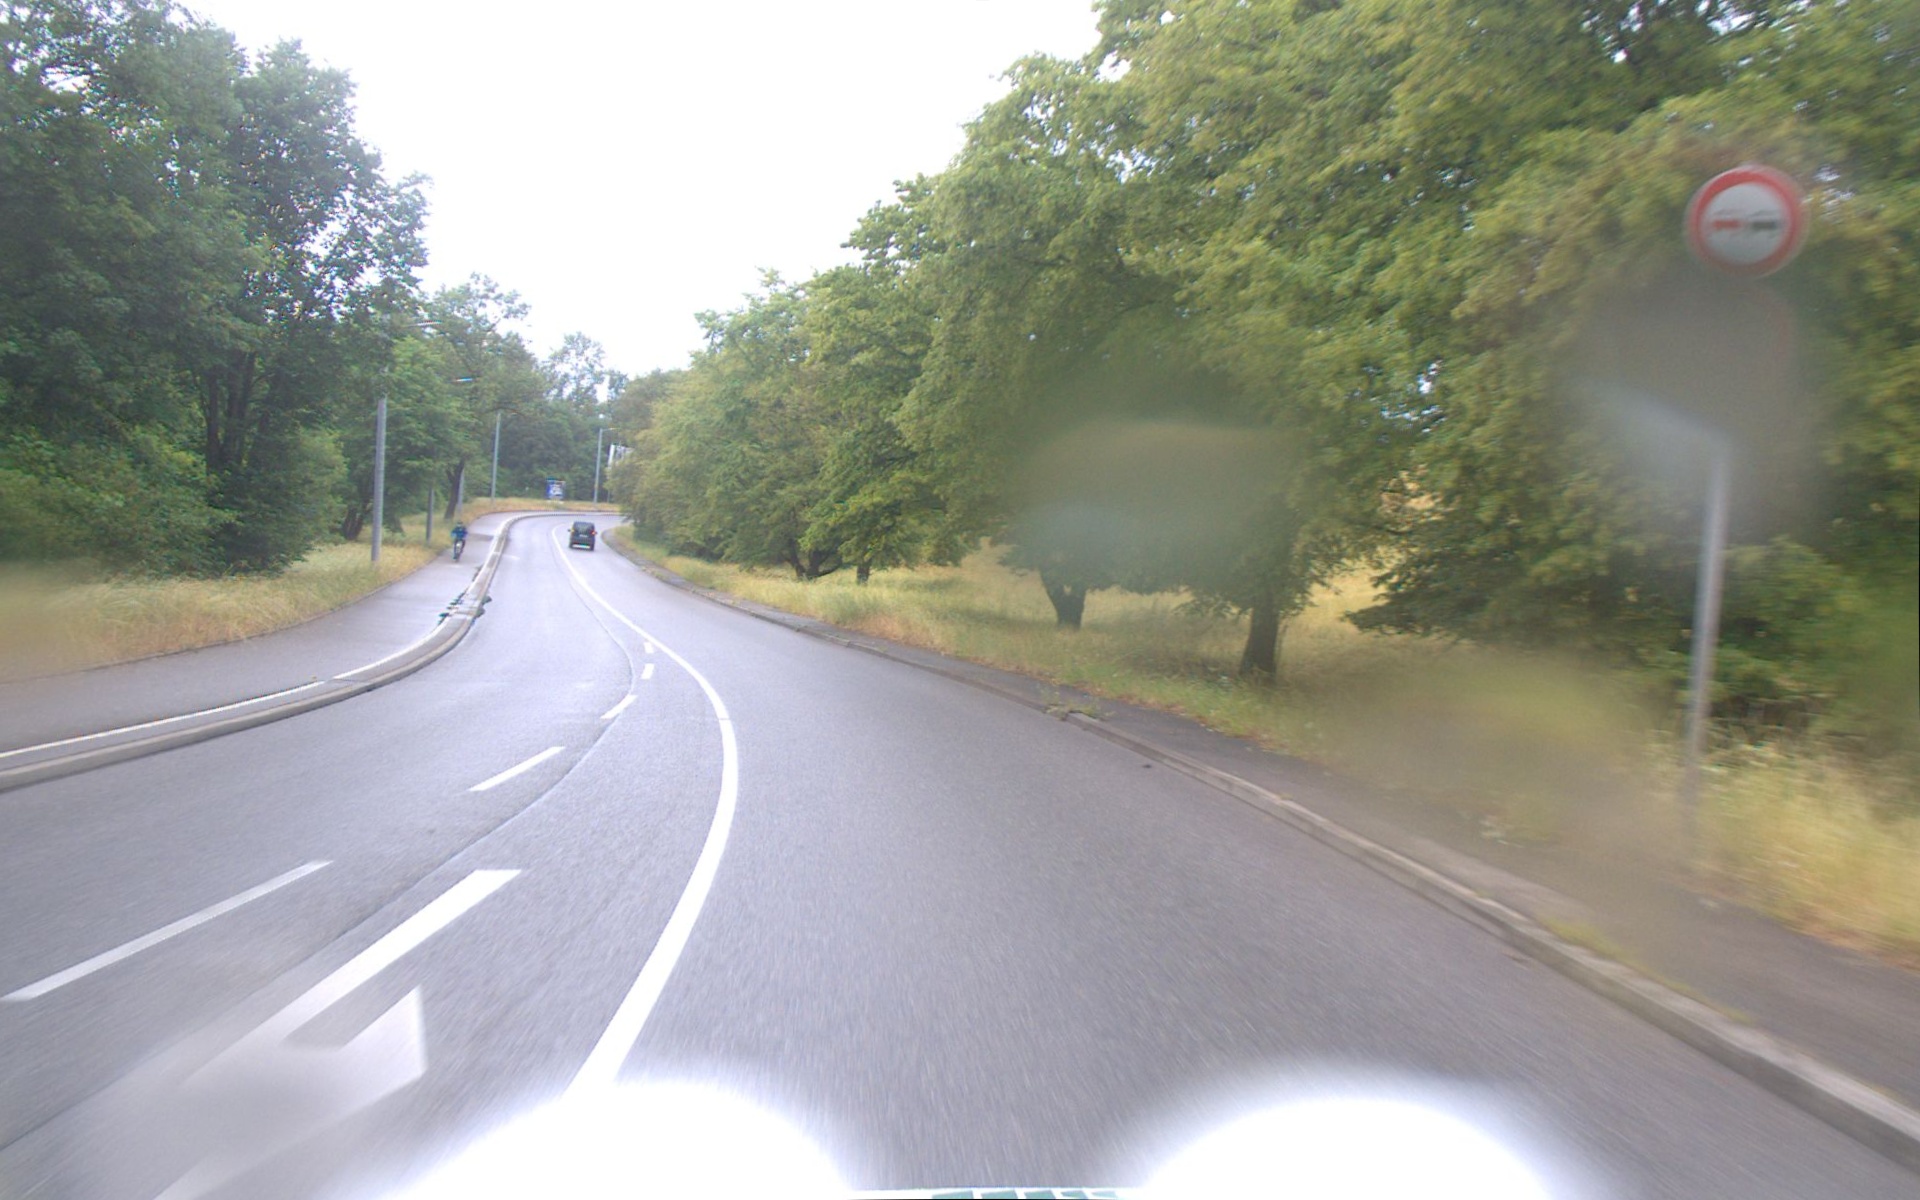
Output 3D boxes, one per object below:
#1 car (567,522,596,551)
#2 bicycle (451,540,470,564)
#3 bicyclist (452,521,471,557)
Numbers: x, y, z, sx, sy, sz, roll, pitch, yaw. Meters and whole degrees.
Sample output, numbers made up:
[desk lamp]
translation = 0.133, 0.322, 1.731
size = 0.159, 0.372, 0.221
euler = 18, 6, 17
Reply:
[car]
translation = -25.599, -4.312, 111.761
size = 1.713, 1.746, 3.986
euler = 4, 1, -14
[bicycle]
translation = -23.110, -2.226, 76.493
size = 0.712, 0.958, 2.540
euler = 5, 1, -16
[bicyclist]
translation = -23.088, -2.845, 76.619
size = 0.697, 1.582, 1.166
euler = 5, 1, -16
